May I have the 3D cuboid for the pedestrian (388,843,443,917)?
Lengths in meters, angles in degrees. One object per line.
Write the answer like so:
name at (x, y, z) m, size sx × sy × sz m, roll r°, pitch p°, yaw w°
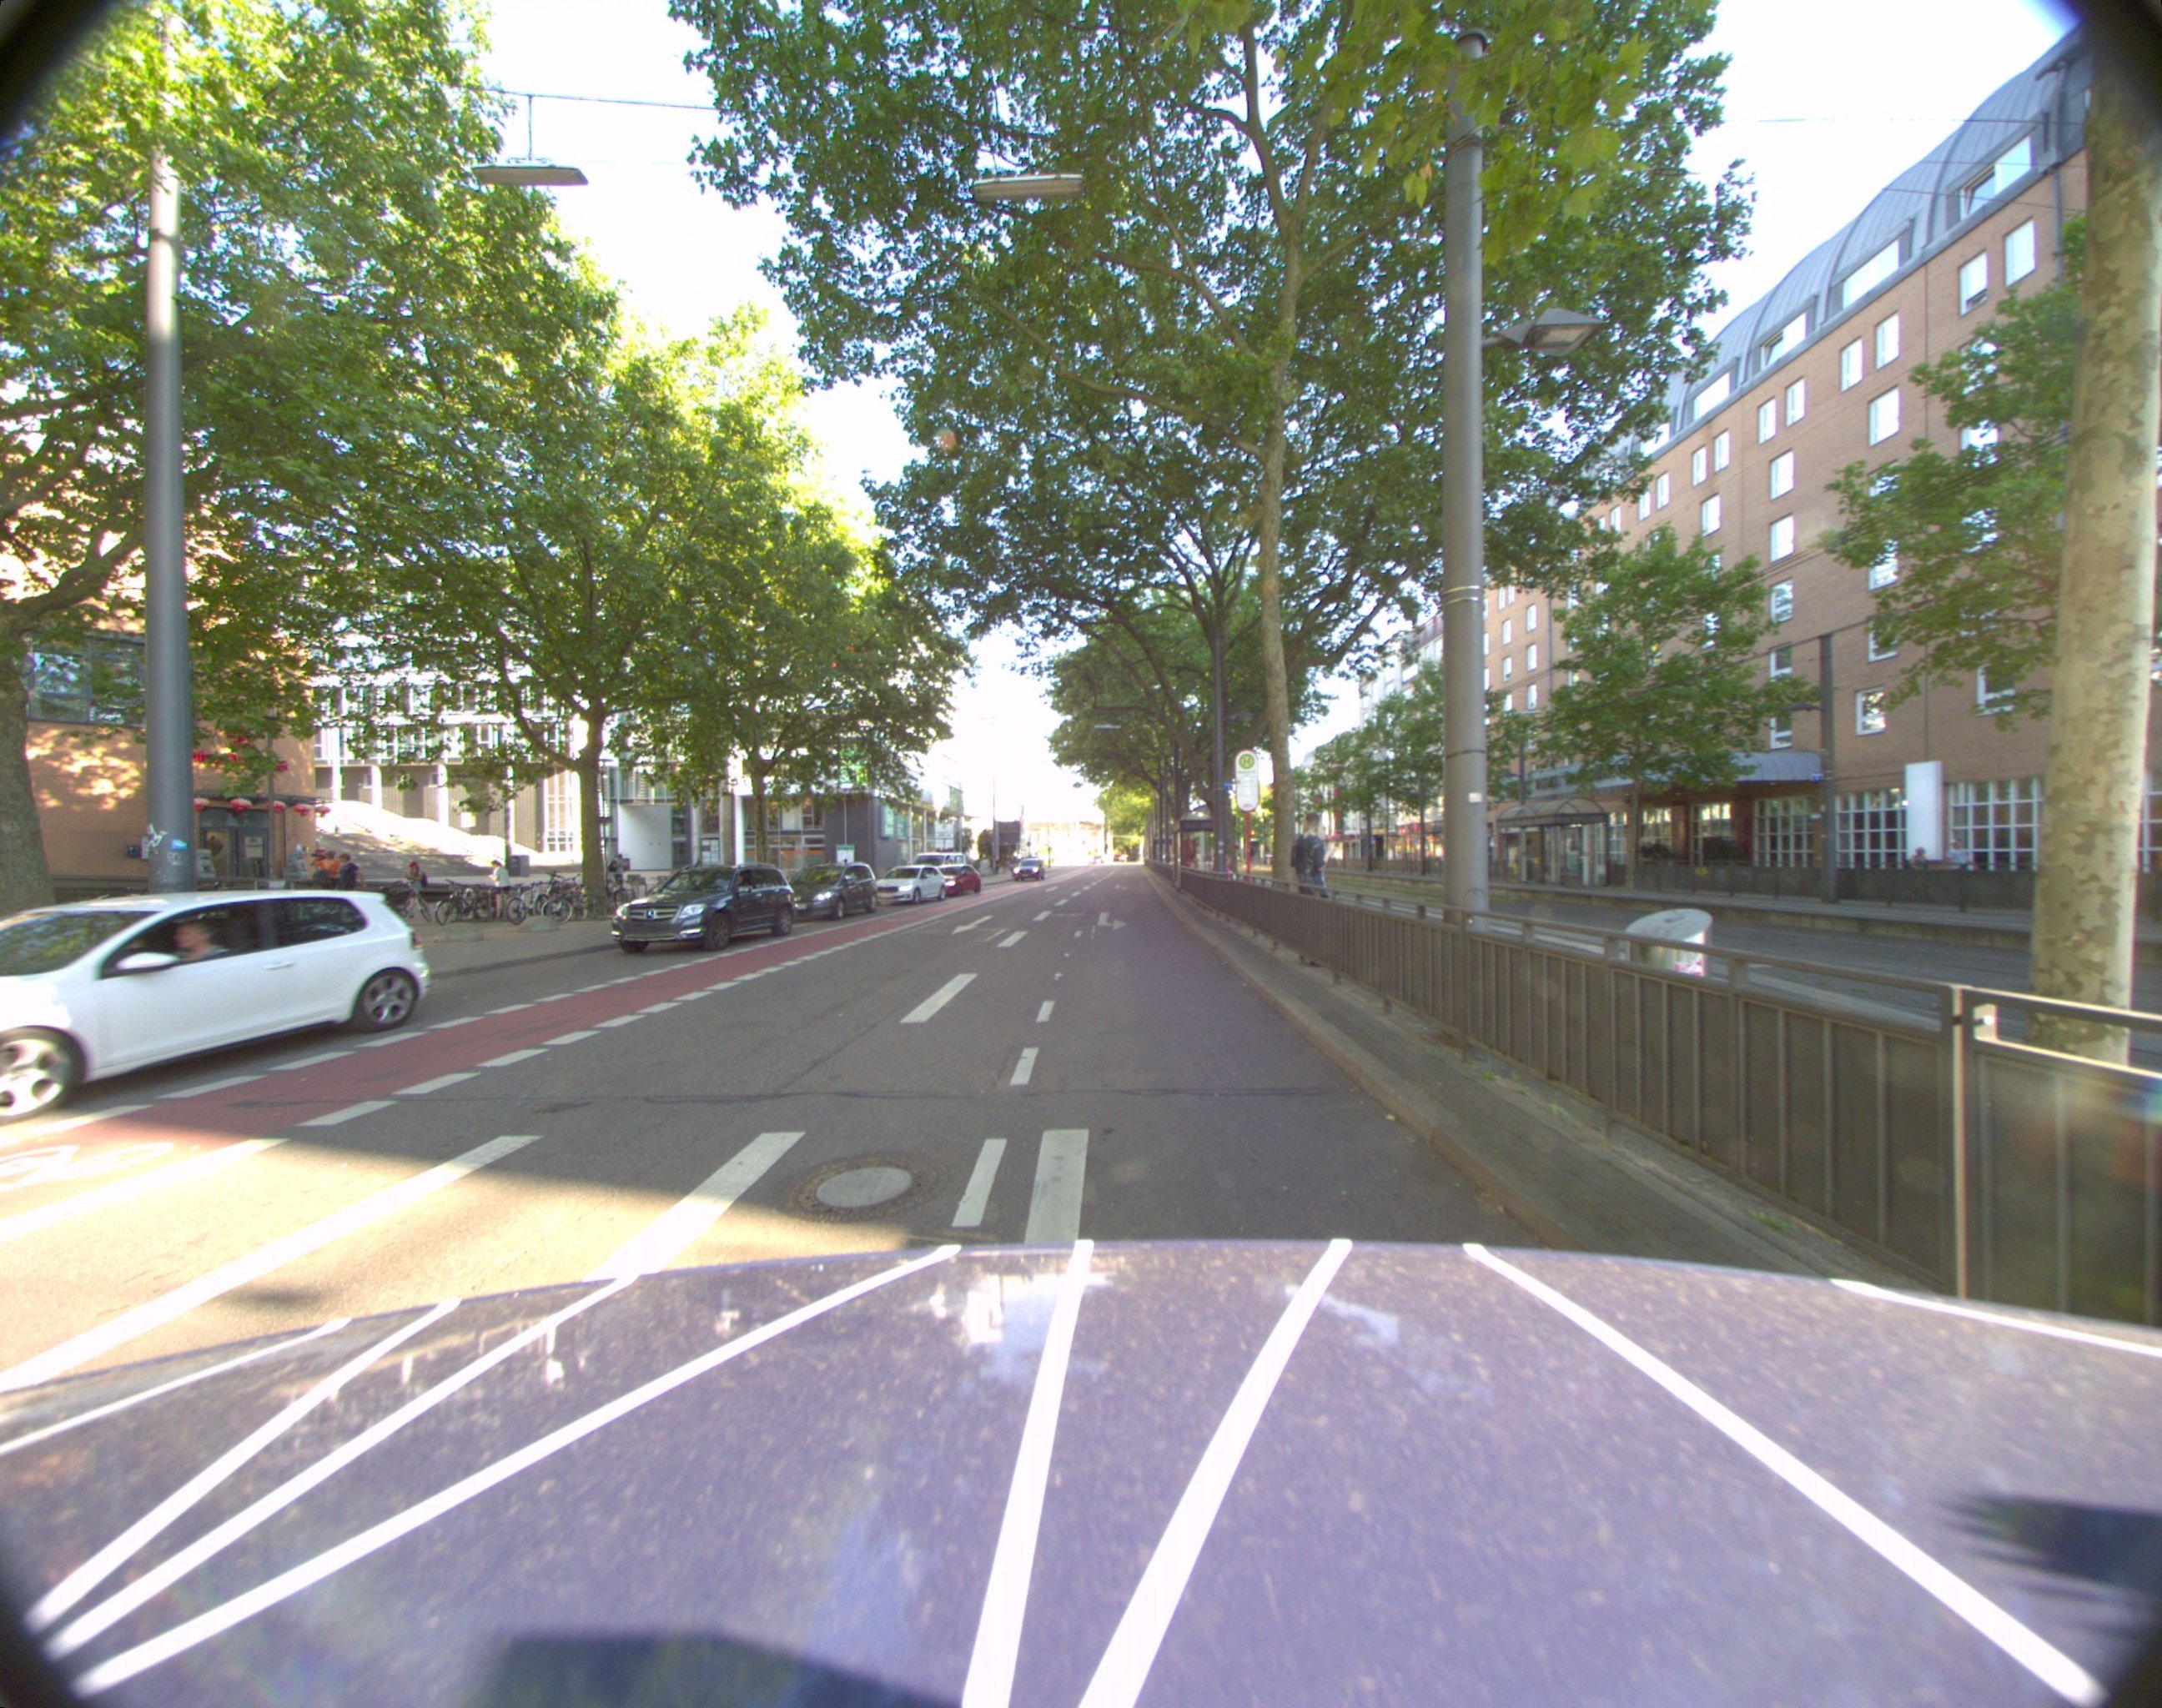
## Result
pedestrian at (-20.693, 0.797, 23.634) m, size 0.842 × 2.220 × 0.905 m, roll -2°, pitch 1°, yaw 22°

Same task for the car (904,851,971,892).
car at (-7.506, 0.867, 40.485) m, size 1.932 × 1.953 × 5.920 m, roll -2°, pitch 0°, yaw 5°

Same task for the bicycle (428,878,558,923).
bicycle at (-16.255, 1.258, 21.007) m, size 3.328 × 1.077 × 1.150 m, roll 0°, pitch 1°, yaw 18°

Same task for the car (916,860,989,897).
car at (-5.870, 1.093, 35.163) m, size 1.834 × 1.481 × 4.199 m, roll -3°, pitch 0°, yaw 12°

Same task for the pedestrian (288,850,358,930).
pedestrian at (-22.029, 1.019, 22.101) m, size 1.048 × 2.235 × 1.221 m, roll -1°, pitch 1°, yaw 38°

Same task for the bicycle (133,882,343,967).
bicycle at (-14.063, 1.124, 12.825) m, size 0.751 × 1.155 × 2.398 m, roll -2°, pitch 1°, yaw 2°

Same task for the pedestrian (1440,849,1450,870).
pedestrian at (30.087, 0.479, 62.785) m, size 0.504 × 1.725 × 0.574 m, roll -1°, pitch 1°, yaw 3°

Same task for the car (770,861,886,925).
car at (-7.400, 1.087, 22.725) m, size 1.709 × 1.626 × 4.391 m, roll -2°, pitch 0°, yaw 4°

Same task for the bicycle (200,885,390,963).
bicycle at (-13.090, 1.120, 12.795) m, size 0.682 × 1.054 × 2.337 m, roll -1°, pitch 1°, yaw 2°

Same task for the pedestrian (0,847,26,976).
pedestrian at (-17.082, 0.893, 11.454) m, size 0.934 × 2.002 × 1.091 m, roll -1°, pitch 1°, yaw -25°

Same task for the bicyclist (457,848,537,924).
bicyclist at (-16.105, 0.867, 20.973) m, size 1.296 × 2.002 × 1.158 m, roll -1°, pitch 1°, yaw 17°

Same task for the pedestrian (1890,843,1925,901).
pedestrian at (25.049, 0.532, 23.043) m, size 0.479 × 1.725 × 0.545 m, roll 0°, pitch 1°, yaw 8°

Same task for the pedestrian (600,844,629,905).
pedestrian at (-20.585, 0.889, 33.560) m, size 0.981 × 2.633 × 0.900 m, roll -3°, pitch 1°, yaw -31°

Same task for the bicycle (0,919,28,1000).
bicycle at (-13.399, 1.302, 7.986) m, size 0.925 × 0.943 × 2.637 m, roll -2°, pitch 1°, yaw 1°

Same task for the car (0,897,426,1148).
car at (-7.714, 1.190, 5.938) m, size 1.639 × 1.420 × 3.986 m, roll -2°, pitch 0°, yaw 1°

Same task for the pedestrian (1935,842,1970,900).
pedestrian at (26.183, 0.498, 22.823) m, size 0.443 × 1.725 × 0.545 m, roll 0°, pitch 1°, yaw 8°

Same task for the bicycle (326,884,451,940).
bicycle at (-17.843, 1.458, 19.710) m, size 0.699 × 1.193 × 2.700 m, roll -2°, pitch 1°, yaw 1°

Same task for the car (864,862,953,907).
car at (-6.583, 1.131, 29.541) m, size 1.834 × 1.481 × 4.198 m, roll -2°, pitch 0°, yaw 10°

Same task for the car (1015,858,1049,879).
car at (-3.729, 1.092, 58.420) m, size 1.784 × 1.481 × 4.197 m, roll -3°, pitch 0°, yaw 6°

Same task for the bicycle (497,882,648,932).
bicycle at (-13.054, 1.328, 19.694) m, size 0.975 × 1.020 × 3.208 m, roll -2°, pitch 1°, yaw 23°

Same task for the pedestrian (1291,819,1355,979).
pedestrian at (2.866, 0.521, 9.030) m, size 0.543 × 1.823 × 0.524 m, roll -2°, pitch 1°, yaw 1°

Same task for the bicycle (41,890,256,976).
bicycle at (-15.609, 1.273, 12.848) m, size 0.657 × 1.155 × 2.293 m, roll -2°, pitch 1°, yaw 3°

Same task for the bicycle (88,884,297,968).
bicycle at (-14.872, 1.153, 12.852) m, size 0.671 × 1.155 × 2.305 m, roll -2°, pitch 1°, yaw 3°

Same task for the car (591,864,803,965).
car at (-7.408, 1.081, 15.223) m, size 1.768 × 1.626 × 4.251 m, roll -2°, pitch 0°, yaw 5°

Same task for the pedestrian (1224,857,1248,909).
pedestrian at (4.017, 0.742, 19.706) m, size 0.542 × 1.310 × 0.524 m, roll -2°, pitch 1°, yaw 12°
